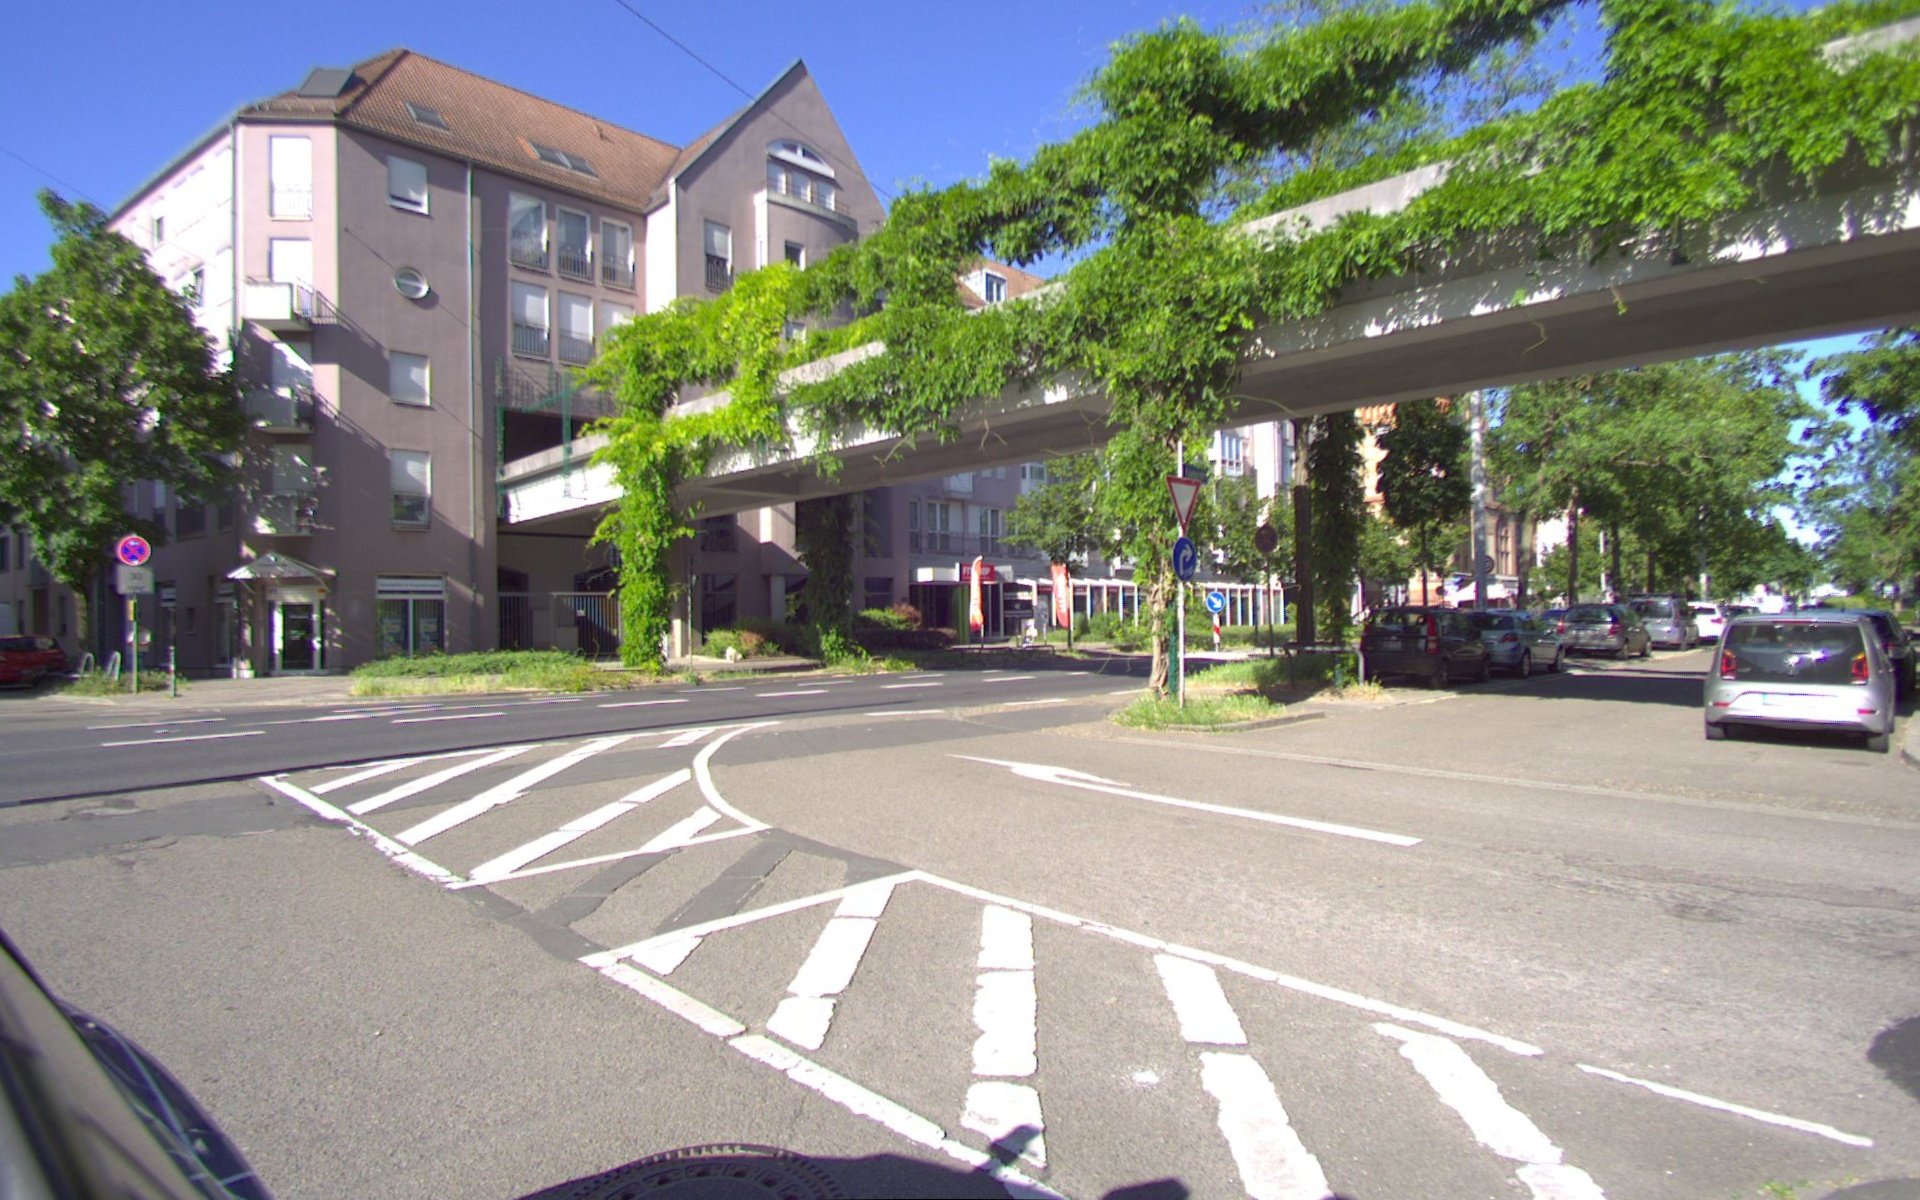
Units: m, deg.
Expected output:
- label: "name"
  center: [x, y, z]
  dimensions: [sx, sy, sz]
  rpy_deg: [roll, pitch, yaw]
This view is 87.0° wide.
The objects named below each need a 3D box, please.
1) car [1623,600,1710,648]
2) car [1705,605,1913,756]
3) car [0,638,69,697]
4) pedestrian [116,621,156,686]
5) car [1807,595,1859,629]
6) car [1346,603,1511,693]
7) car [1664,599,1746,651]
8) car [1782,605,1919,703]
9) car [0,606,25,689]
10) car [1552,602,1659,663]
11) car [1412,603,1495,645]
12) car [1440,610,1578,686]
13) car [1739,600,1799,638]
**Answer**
- label: "car"
  center: [24.433, 0.809, 34.958]
  dimensions: [1.736, 1.561, 4.384]
  rpy_deg: [-3, -2, 44]
- label: "car"
  center: [10.096, 0.829, 11.941]
  dimensions: [1.612, 1.497, 3.595]
  rpy_deg: [-2, -2, 44]
- label: "car"
  center: [-25.944, 1.812, 27.605]
  dimensions: [3.992, 1.473, 1.672]
  rpy_deg: [-2, -2, 36]
- label: "pedestrian"
  center: [-20.757, 1.335, 25.505]
  dimensions: [0.623, 1.588, 0.533]
  rpy_deg: [0, -1, -20]
- label: "car"
  center: [53.624, 0.744, 62.161]
  dimensions: [4.231, 2.029, 2.001]
  rpy_deg: [0, -2, -44]
- label: "car"
  center: [9.171, 0.847, 19.671]
  dimensions: [1.747, 1.550, 3.724]
  rpy_deg: [1, 0, 45]
- label: "car"
  center: [28.567, 0.939, 38.749]
  dimensions: [2.000, 1.897, 4.177]
  rpy_deg: [-2, -2, 43]
- label: "car"
  center: [15.874, 0.870, 17.848]
  dimensions: [1.739, 1.541, 3.941]
  rpy_deg: [-2, -1, 45]
- label: "car"
  center: [-30.916, 1.469, 31.046]
  dimensions: [5.081, 2.470, 2.195]
  rpy_deg: [-2, -2, 34]
- label: "car"
  center: [18.809, 0.918, 29.426]
  dimensions: [4.023, 1.659, 1.780]
  rpy_deg: [0, -2, -45]
- label: "car"
  center: [17.786, 0.864, 36.435]
  dimensions: [1.657, 1.439, 3.456]
  rpy_deg: [-2, -2, 44]
- label: "car"
  center: [12.262, 0.985, 22.488]
  dimensions: [1.658, 1.459, 4.221]
  rpy_deg: [2, 1, 43]
- label: "car"
  center: [42.900, 0.997, 53.620]
  dimensions: [2.072, 1.923, 4.461]
  rpy_deg: [-3, -2, 43]
